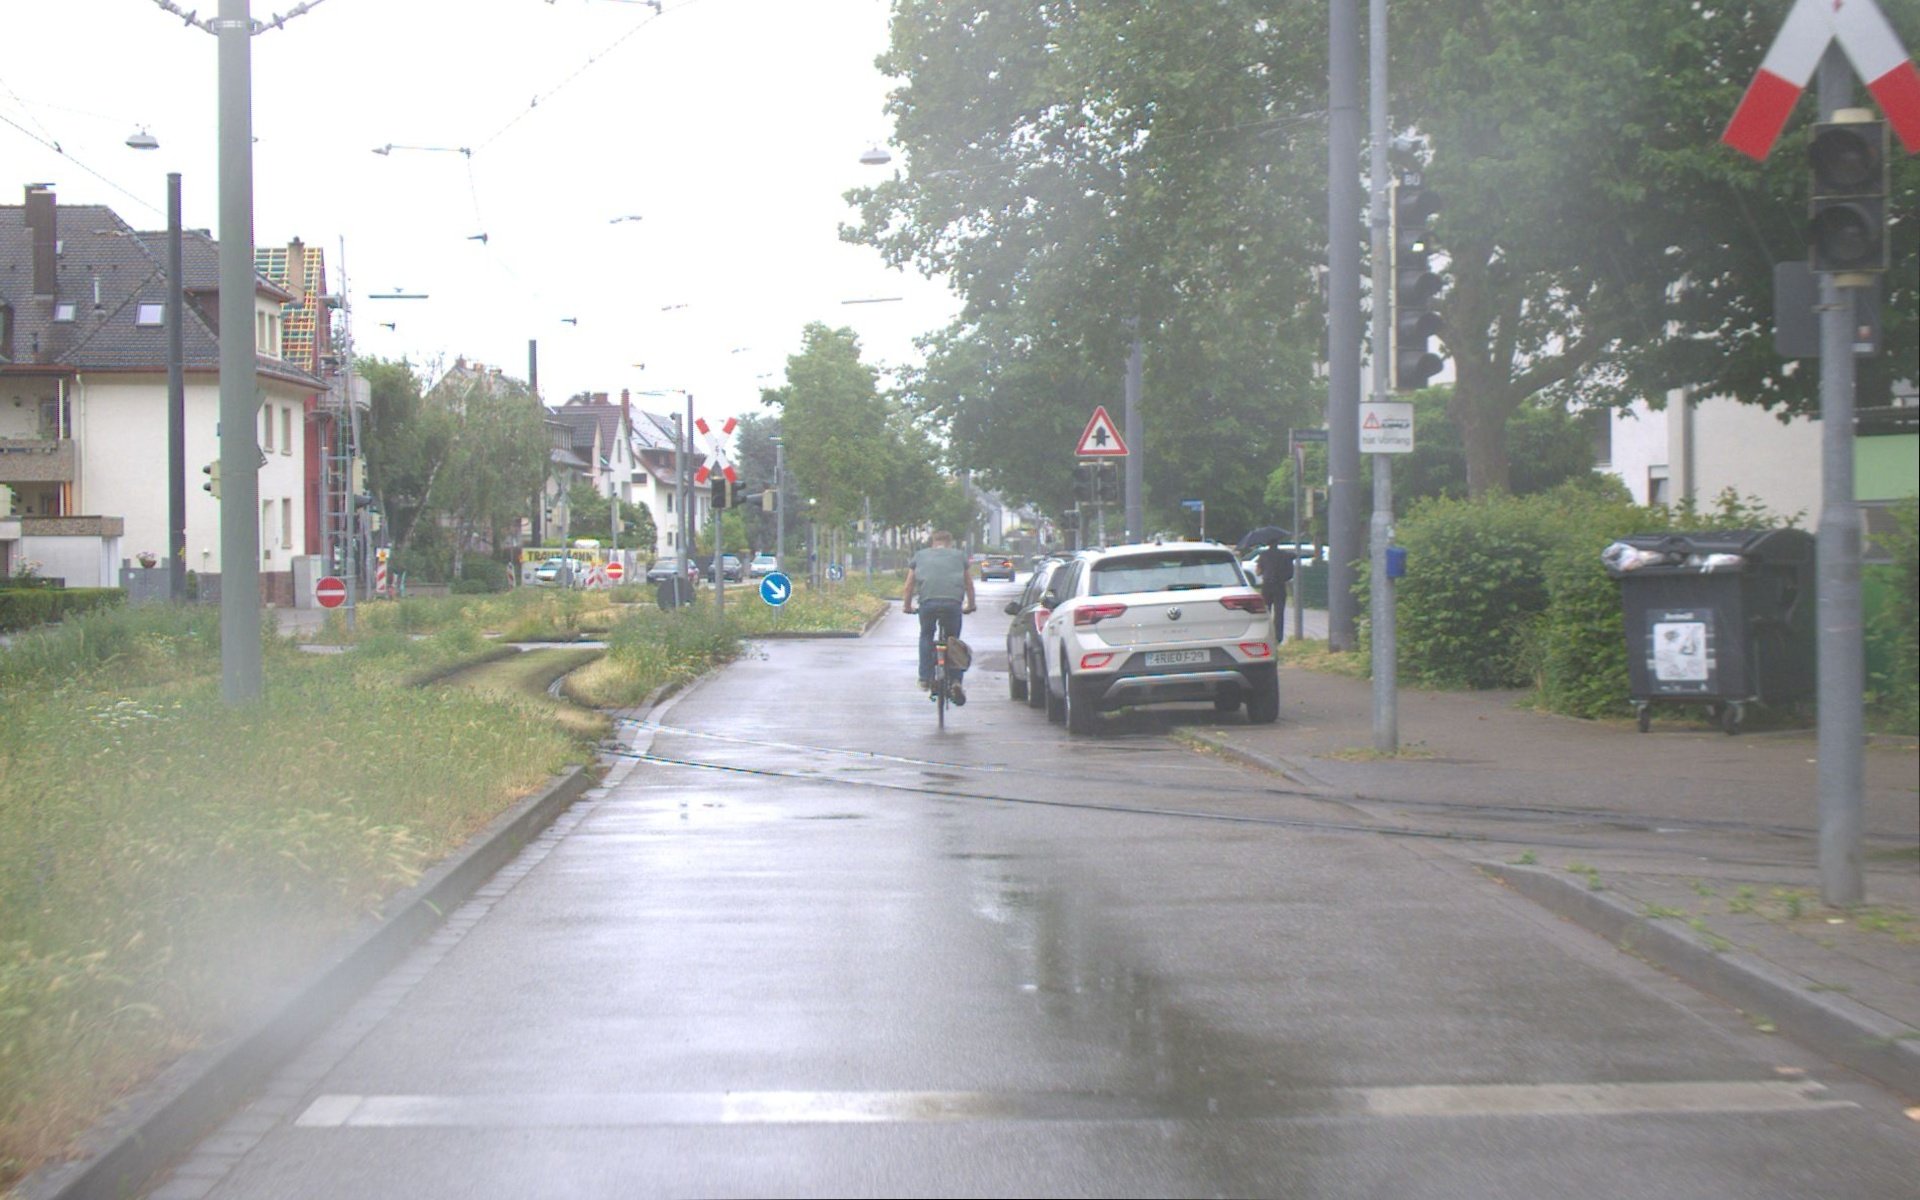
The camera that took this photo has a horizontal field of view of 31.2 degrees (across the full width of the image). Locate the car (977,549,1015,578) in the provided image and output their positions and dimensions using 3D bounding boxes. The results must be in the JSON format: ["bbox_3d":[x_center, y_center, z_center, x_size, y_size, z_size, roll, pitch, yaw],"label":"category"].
[{"bbox_3d":[2.043,-2.047,193.972,1.993,1.487,4.000,-1,-1,-1],"label":"car"}]

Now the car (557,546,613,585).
[{"bbox_3d":[-15.971,-1.472,146.525,1.993,1.539,4.000,-1,-1,0],"label":"car"}]

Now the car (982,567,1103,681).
[{"bbox_3d":[1.536,0.440,65.371,1.941,2.006,4.000,-2,0,-3],"label":"car"}]

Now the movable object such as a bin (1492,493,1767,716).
[{"bbox_3d":[5.345,0.019,27.514,1.549,1.698,1.501,-2,1,-25],"label":"movable object such as a bin"}]

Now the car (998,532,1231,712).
[{"bbox_3d":[1.504,0.212,34.935,1.941,1.646,4.000,-2,0,-3],"label":"car"}]

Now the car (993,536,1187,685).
[{"bbox_3d":[1.520,0.116,41.634,1.941,1.646,4.000,-2,0,-3],"label":"car"}]

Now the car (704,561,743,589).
[{"bbox_3d":[-13.824,-1.445,201.274,1.993,1.539,4.000,-1,-1,0],"label":"car"}]

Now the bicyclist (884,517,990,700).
[{"bbox_3d":[-0.208,0.072,30.020,0.831,1.553,0.914,-1,0,-4],"label":"bicyclist"}]

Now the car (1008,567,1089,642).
[{"bbox_3d":[2.473,0.116,97.088,1.941,2.006,4.000,-2,0,-3],"label":"car"}]

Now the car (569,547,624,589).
[{"bbox_3d":[-15.983,-1.390,151.233,1.993,1.699,4.000,-1,-1,0],"label":"car"}]

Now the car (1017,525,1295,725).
[{"bbox_3d":[1.627,0.203,29.963,1.954,1.548,4.000,-2,0,-3],"label":"car"}]

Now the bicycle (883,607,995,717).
[{"bbox_3d":[-0.199,0.527,30.102,0.821,0.909,1.986,-1,0,-4],"label":"bicycle"}]

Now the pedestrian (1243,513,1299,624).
[{"bbox_3d":[4.910,-0.492,54.311,0.747,1.710,0.750,-2,0,-1],"label":"pedestrian"}]

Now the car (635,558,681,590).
[{"bbox_3d":[-15.476,-1.330,176.240,1.993,1.539,4.000,-1,-1,0],"label":"car"}]
